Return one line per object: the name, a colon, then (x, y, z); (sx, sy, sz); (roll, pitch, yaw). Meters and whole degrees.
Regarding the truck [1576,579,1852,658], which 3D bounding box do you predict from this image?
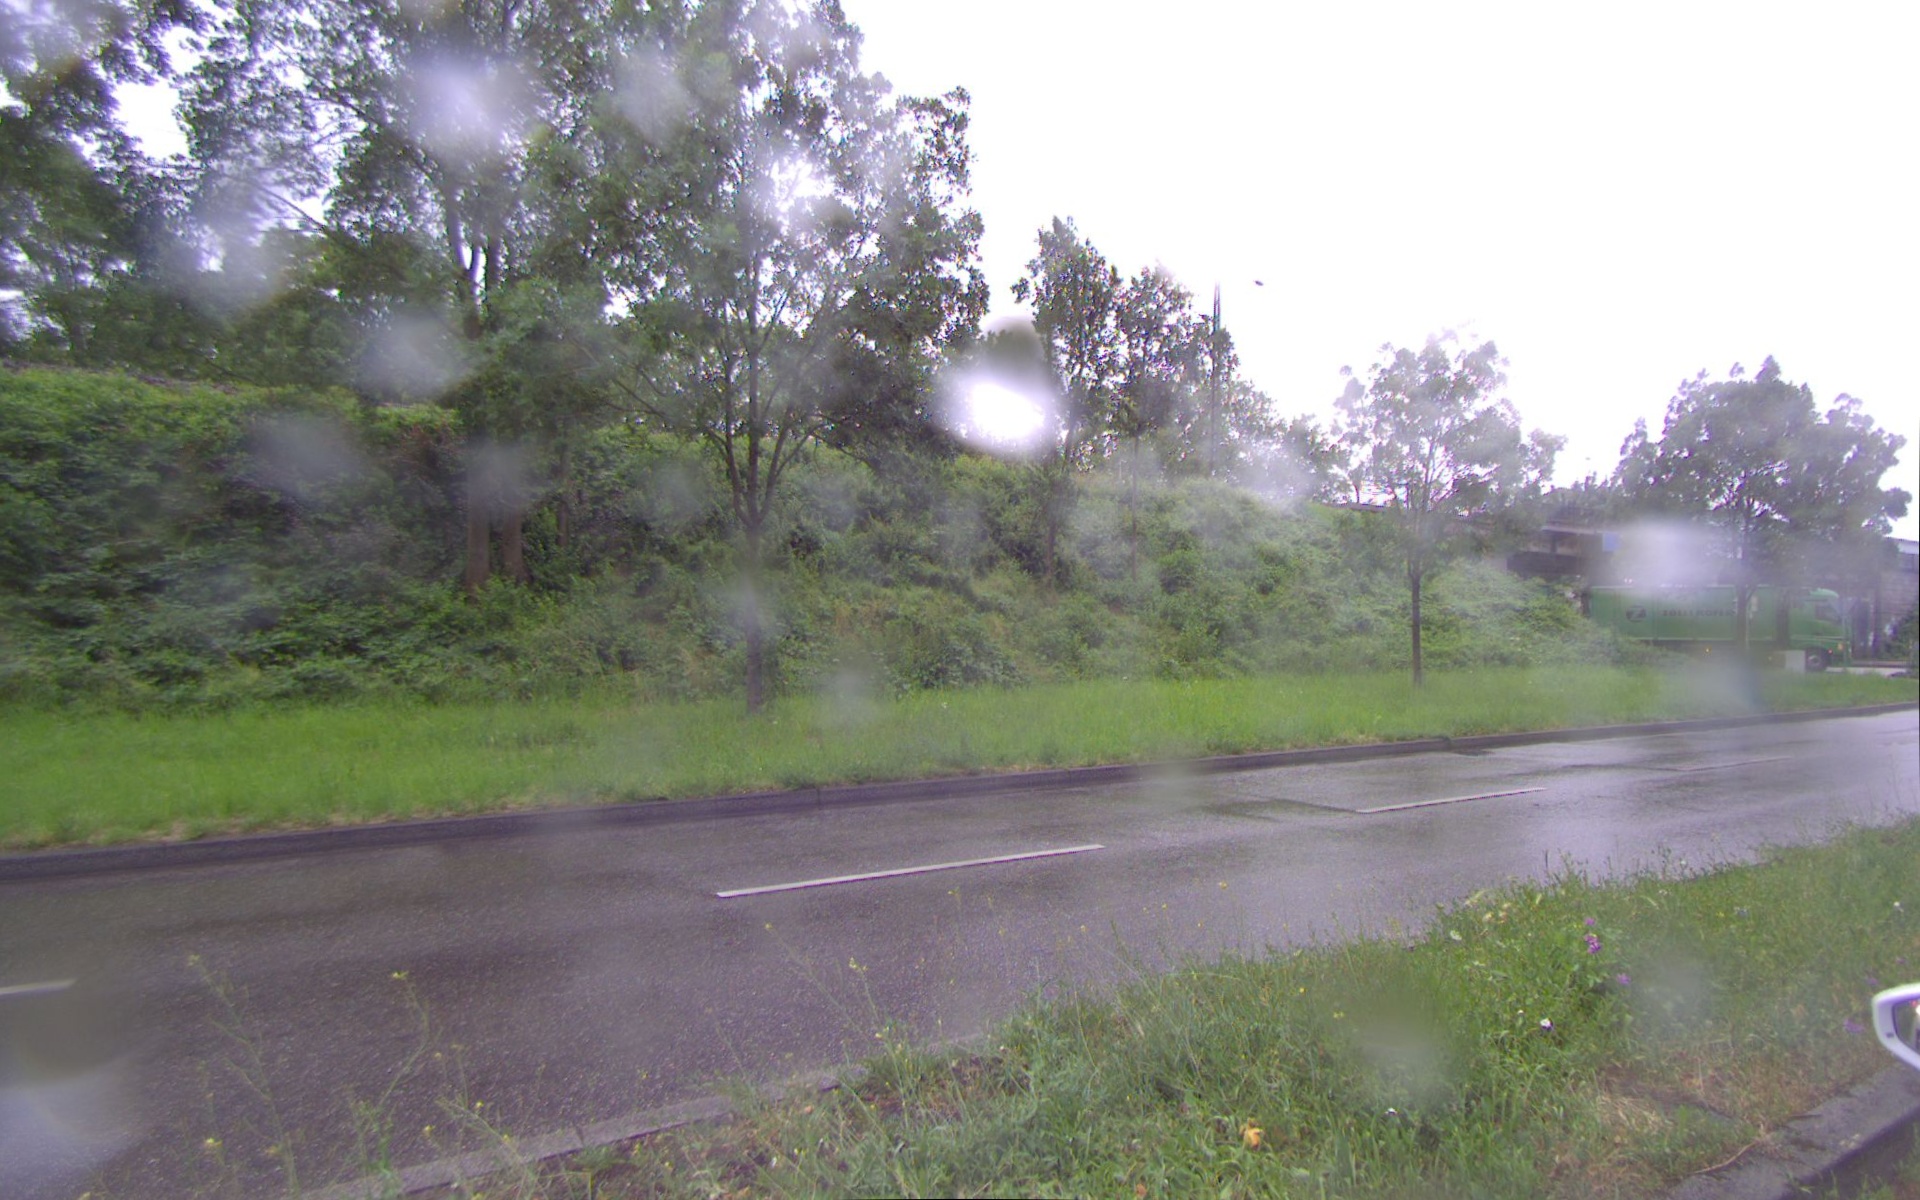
truck: (34.337, 0.791, 46.333); (9.872, 3.416, 2.346); (0, -1, 25)
